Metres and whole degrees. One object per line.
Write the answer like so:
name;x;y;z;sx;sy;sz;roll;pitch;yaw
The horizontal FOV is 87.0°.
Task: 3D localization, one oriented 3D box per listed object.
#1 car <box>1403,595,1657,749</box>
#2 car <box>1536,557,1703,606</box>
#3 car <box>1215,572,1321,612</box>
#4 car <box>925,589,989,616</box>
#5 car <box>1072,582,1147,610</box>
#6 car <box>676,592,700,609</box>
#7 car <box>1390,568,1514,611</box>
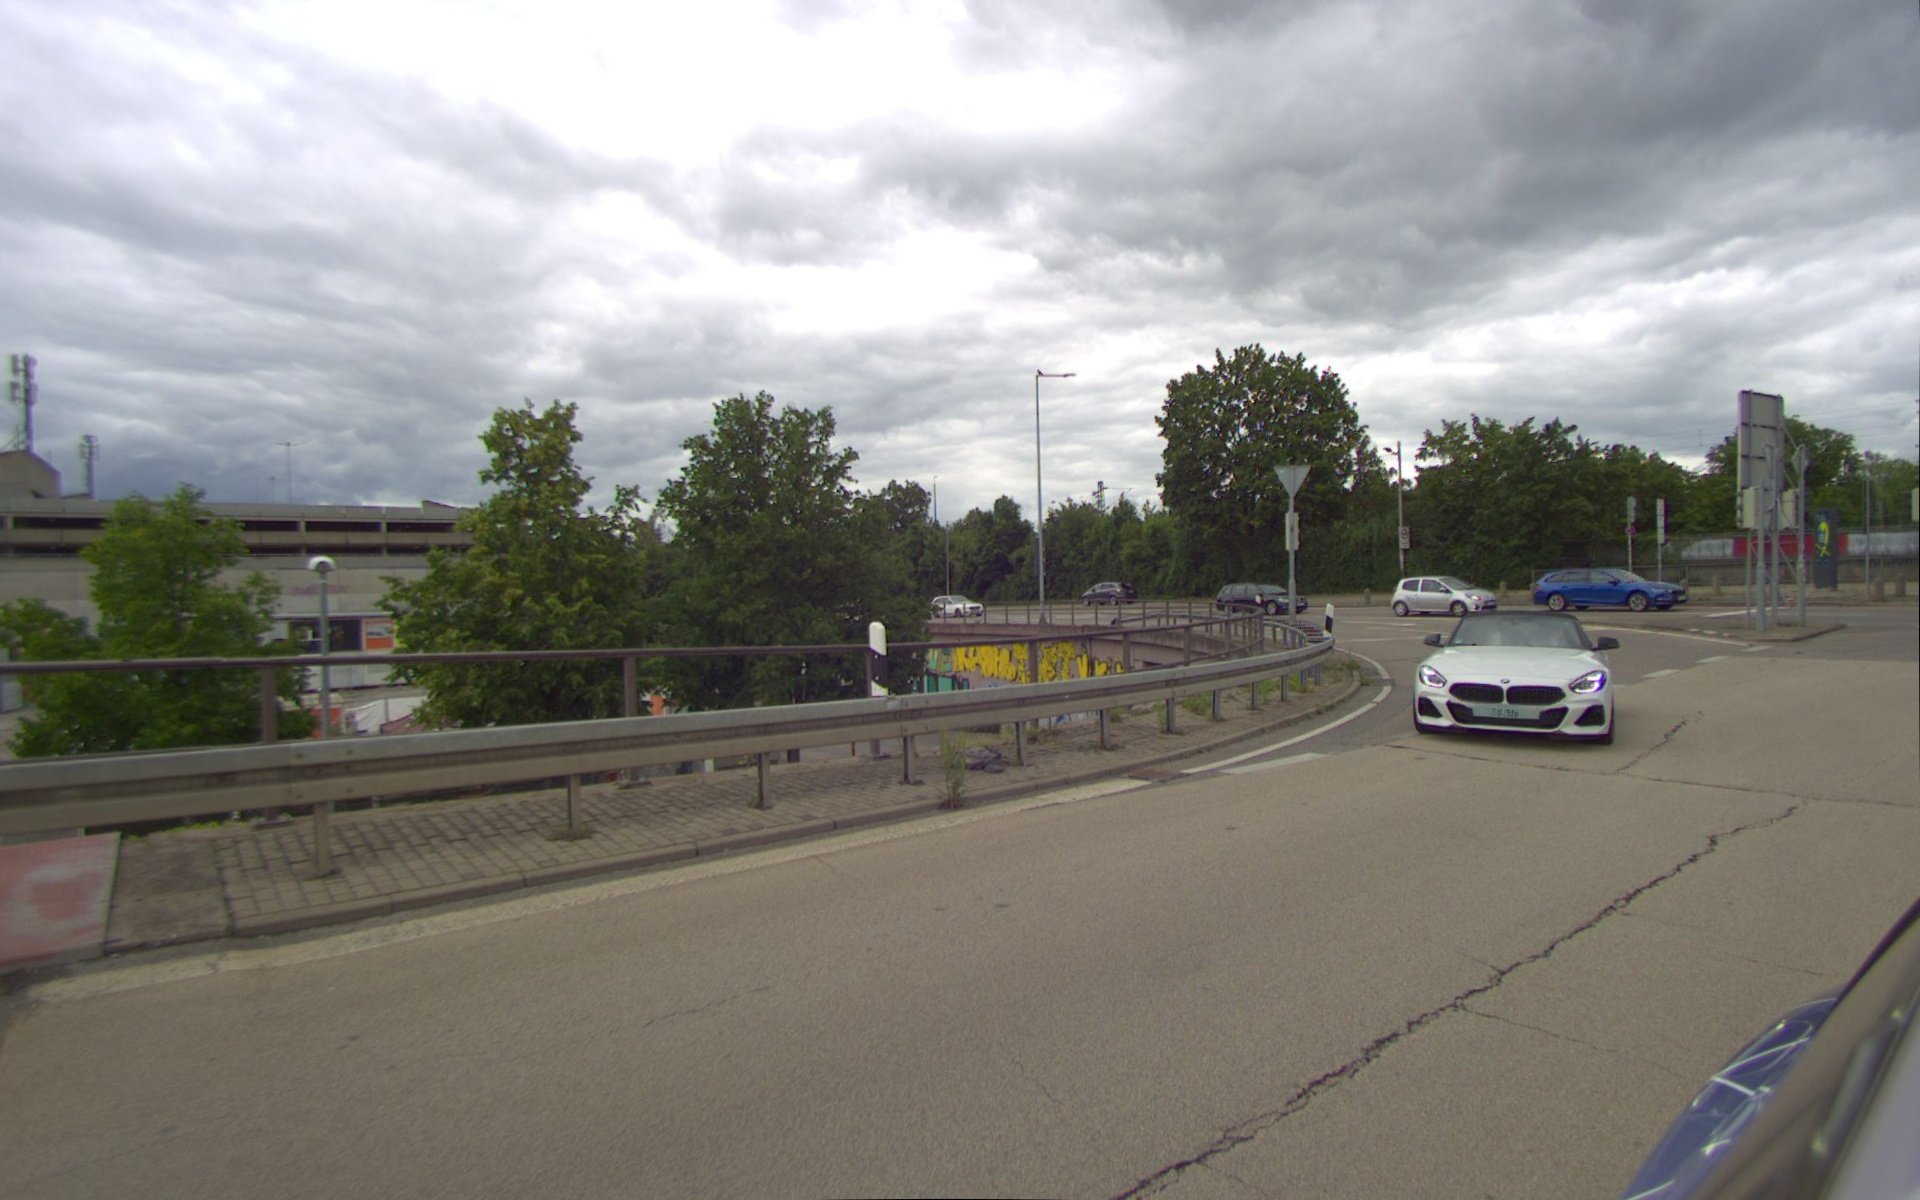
car;6.798;0.668;11.780;1.854;1.362;4.758;-1;0;38
car;22.397;-0.598;34.561;1.578;1.472;4.547;-3;1;-29
car;13.660;-0.340;45.116;1.910;1.576;4.297;-3;1;-32
car;-0.240;0.179;67.254;1.843;1.580;4.713;-3;1;-35
car;10.636;-0.245;72.570;2.094;1.777;5.492;-3;1;-34
car;-33.664;0.077;125.141;1.620;2.039;3.597;-2;1;-37
car;17.823;-0.356;36.797;1.597;1.391;3.752;-3;1;-30
